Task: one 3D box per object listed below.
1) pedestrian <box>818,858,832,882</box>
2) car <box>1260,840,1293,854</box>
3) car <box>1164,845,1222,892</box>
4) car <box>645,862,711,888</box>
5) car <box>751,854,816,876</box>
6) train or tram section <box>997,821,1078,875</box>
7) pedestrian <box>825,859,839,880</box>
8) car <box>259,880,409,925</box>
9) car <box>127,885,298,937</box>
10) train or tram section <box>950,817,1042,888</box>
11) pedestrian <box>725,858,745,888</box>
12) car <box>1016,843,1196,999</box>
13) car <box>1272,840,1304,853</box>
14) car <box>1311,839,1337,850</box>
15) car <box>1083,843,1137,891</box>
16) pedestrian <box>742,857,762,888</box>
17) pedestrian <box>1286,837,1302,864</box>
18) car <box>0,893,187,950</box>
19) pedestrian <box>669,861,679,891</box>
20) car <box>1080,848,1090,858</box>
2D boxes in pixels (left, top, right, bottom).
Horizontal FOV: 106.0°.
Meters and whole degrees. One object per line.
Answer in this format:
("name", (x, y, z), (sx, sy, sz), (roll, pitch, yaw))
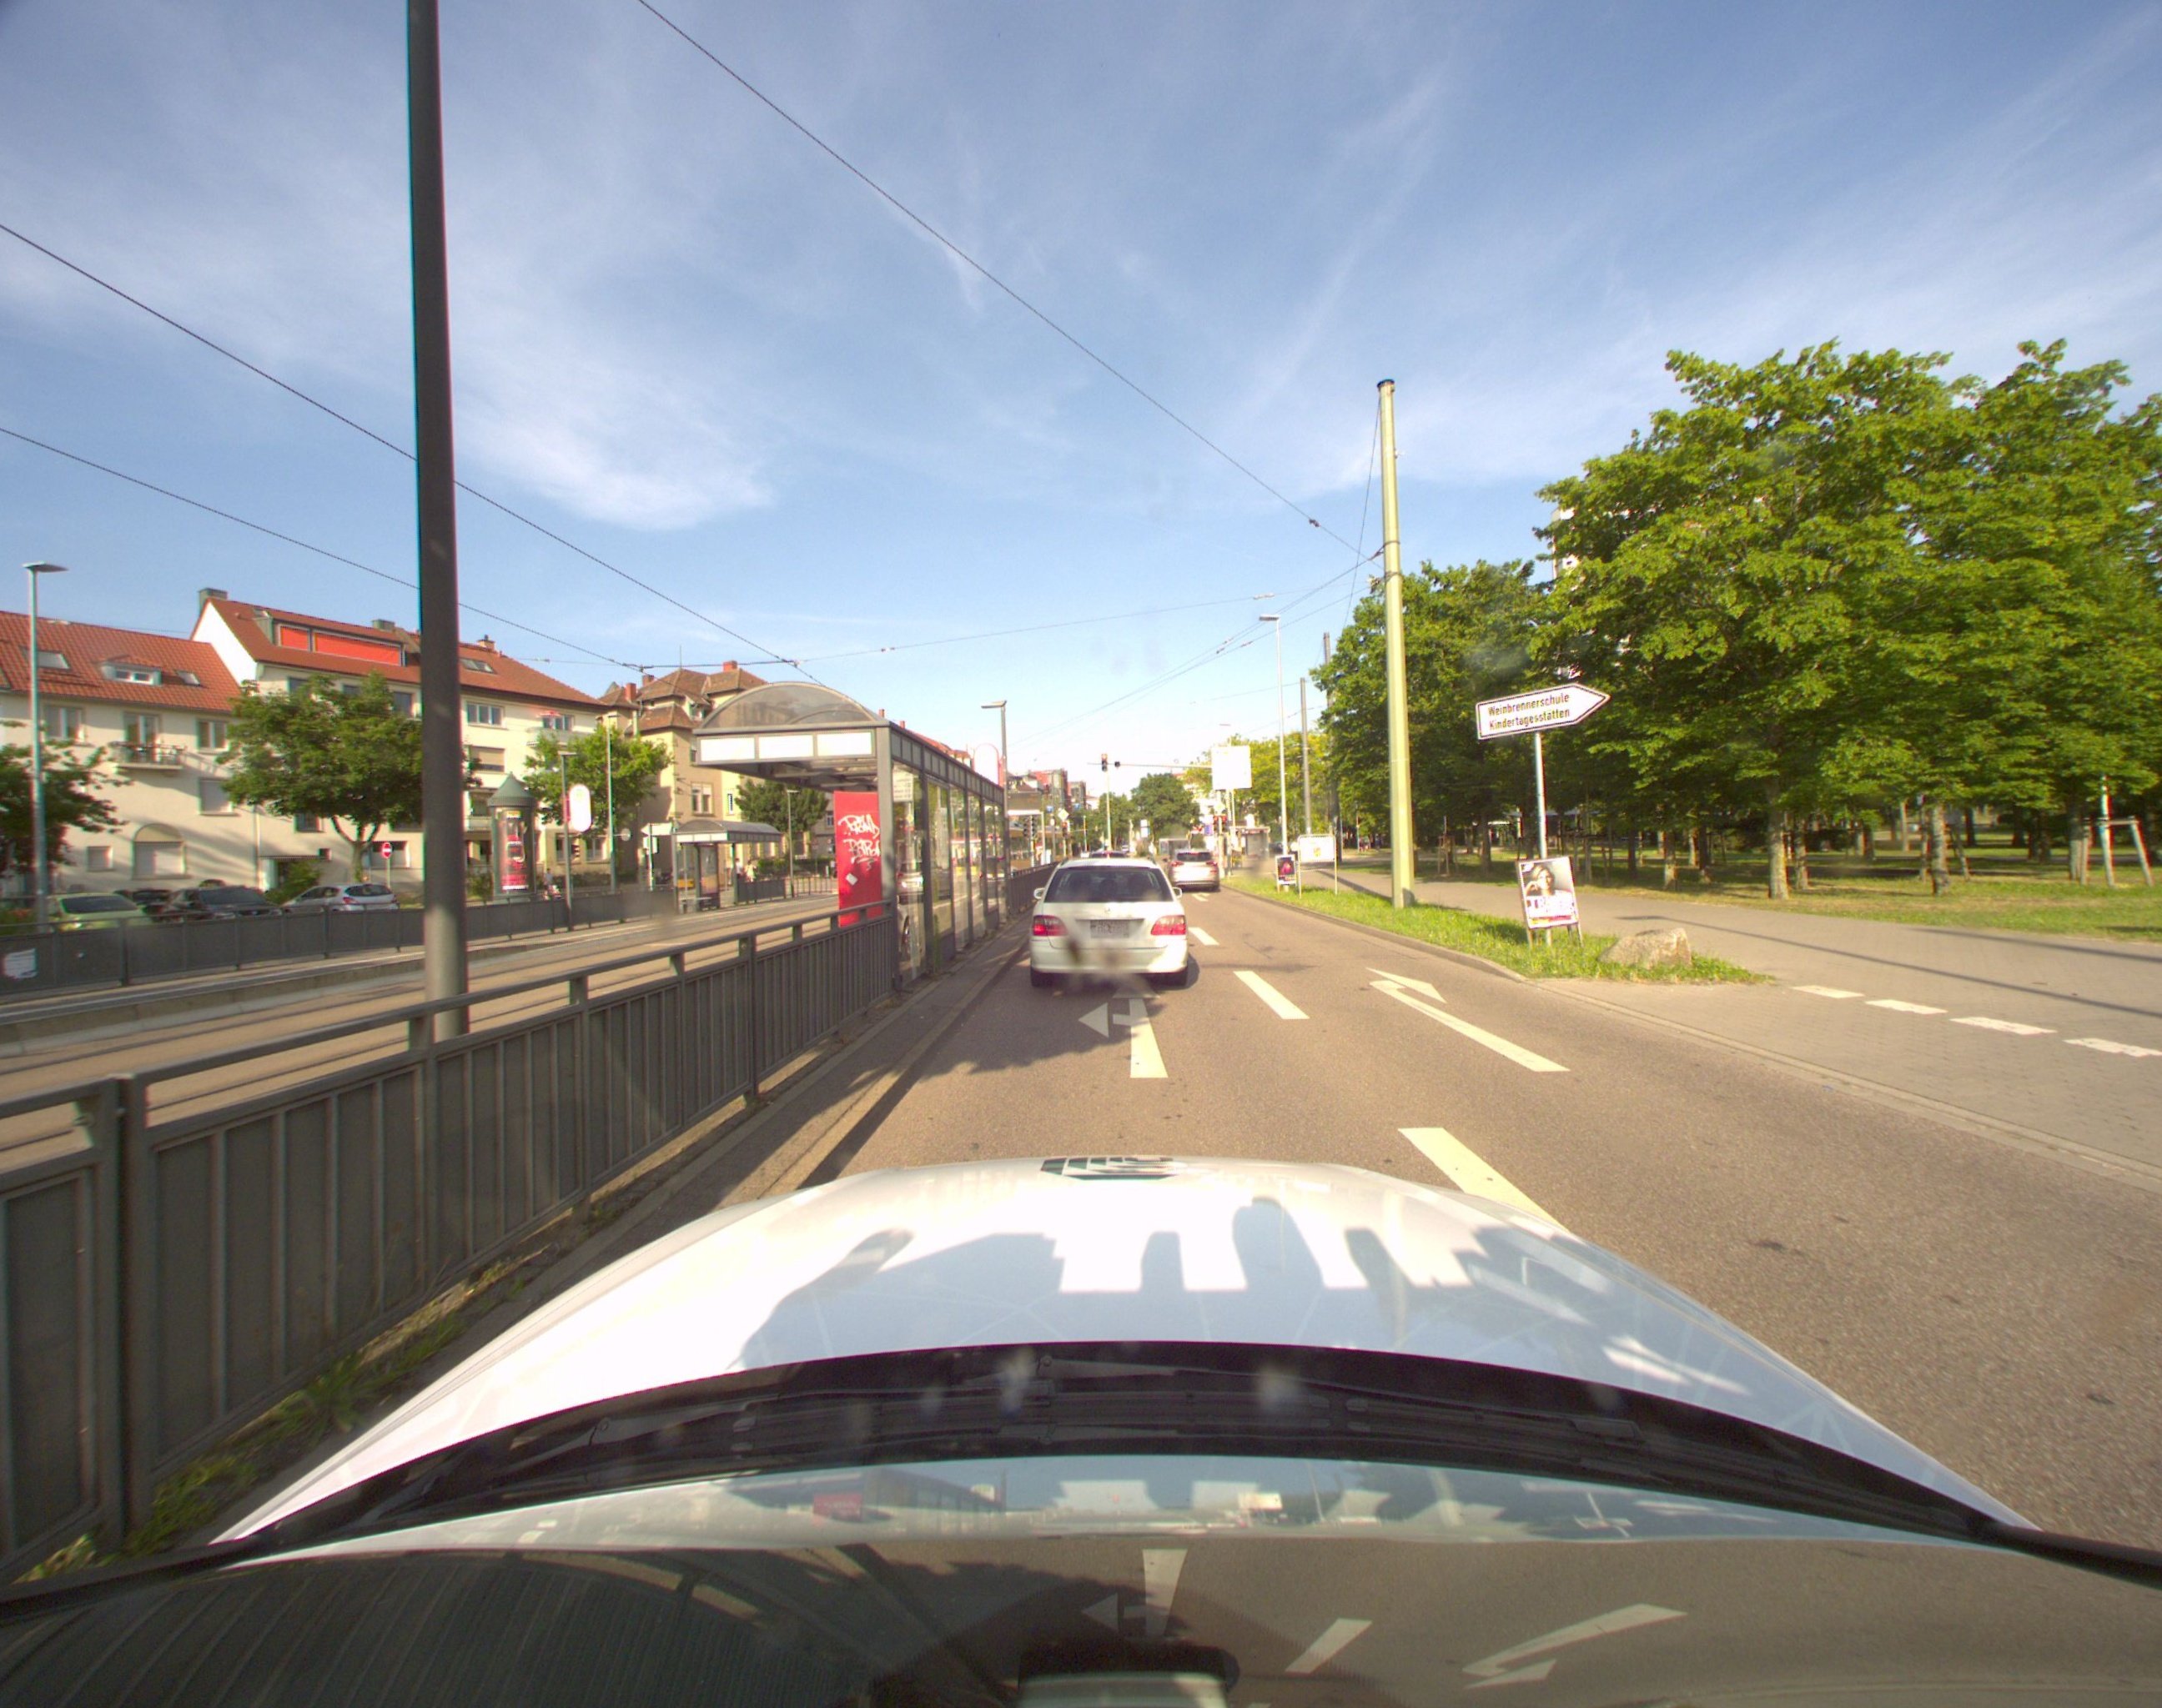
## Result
("pedestrian", (-18.765, 1.166, 59.693), (0.662, 1.753, 0.747), (-2, 0, 5))
("car", (26.380, -0.950, 109.939), (3.949, 1.651, 2.012), (-2, 0, 27))
("car", (4.217, 0.504, 31.232), (2.023, 1.605, 4.007), (-2, 1, 6))
("car", (-28.871, 1.493, 58.382), (3.954, 1.750, 2.010), (-1, 0, 19))
("car", (-24.366, 0.862, 66.880), (2.183, 1.628, 4.744), (-1, 1, 25))
("train or tram section", (-2.893, -0.489, 60.181), (2.831, 3.479, 13.240), (-1, 1, 11))
("pedestrian", (-20.601, 1.277, 67.360), (0.882, 1.753, 0.747), (-2, 0, 5))
("car", (-25.759, 1.660, 28.131), (3.956, 1.398, 2.009), (-1, 1, 16))
("car", (-26.821, 1.753, 25.190), (3.956, 1.398, 2.009), (-1, 1, 16))
("train or tram section", (-4.532, -0.185, 47.175), (2.836, 3.479, 13.218), (-1, 1, 5))
("pedestrian", (-20.318, 1.102, 47.808), (0.886, 1.753, 0.743), (-2, 0, -9))
("car", (0.349, 0.671, 10.232), (1.751, 1.503, 4.003), (-3, 0, 3))
("car", (29.753, -1.116, 117.037), (4.007, 1.651, 1.983), (-3, 0, -25))
("car", (40.915, -1.633, 137.128), (4.007, 1.651, 1.983), (-3, 0, -25))
("car", (1.188, 0.460, 31.659), (1.778, 1.689, 4.007), (-1, 1, 6))
("pedestrian", (-19.399, 1.081, 47.971), (0.886, 1.753, 0.743), (-2, 0, -9))
("pedestrian", (13.349, -0.202, 51.052), (0.881, 1.652, 0.748), (-1, 0, 10))
("car", (-27.887, 1.871, 22.965), (3.956, 1.398, 2.009), (-1, 1, 16))
("pedestrian", (-27.330, 1.455, 54.714), (0.379, 2.013, 0.410), (-1, 0, 20))
("car", (0.884, -0.200, 168.352), (1.986, 2.013, 4.001), (-3, 0, 1))
